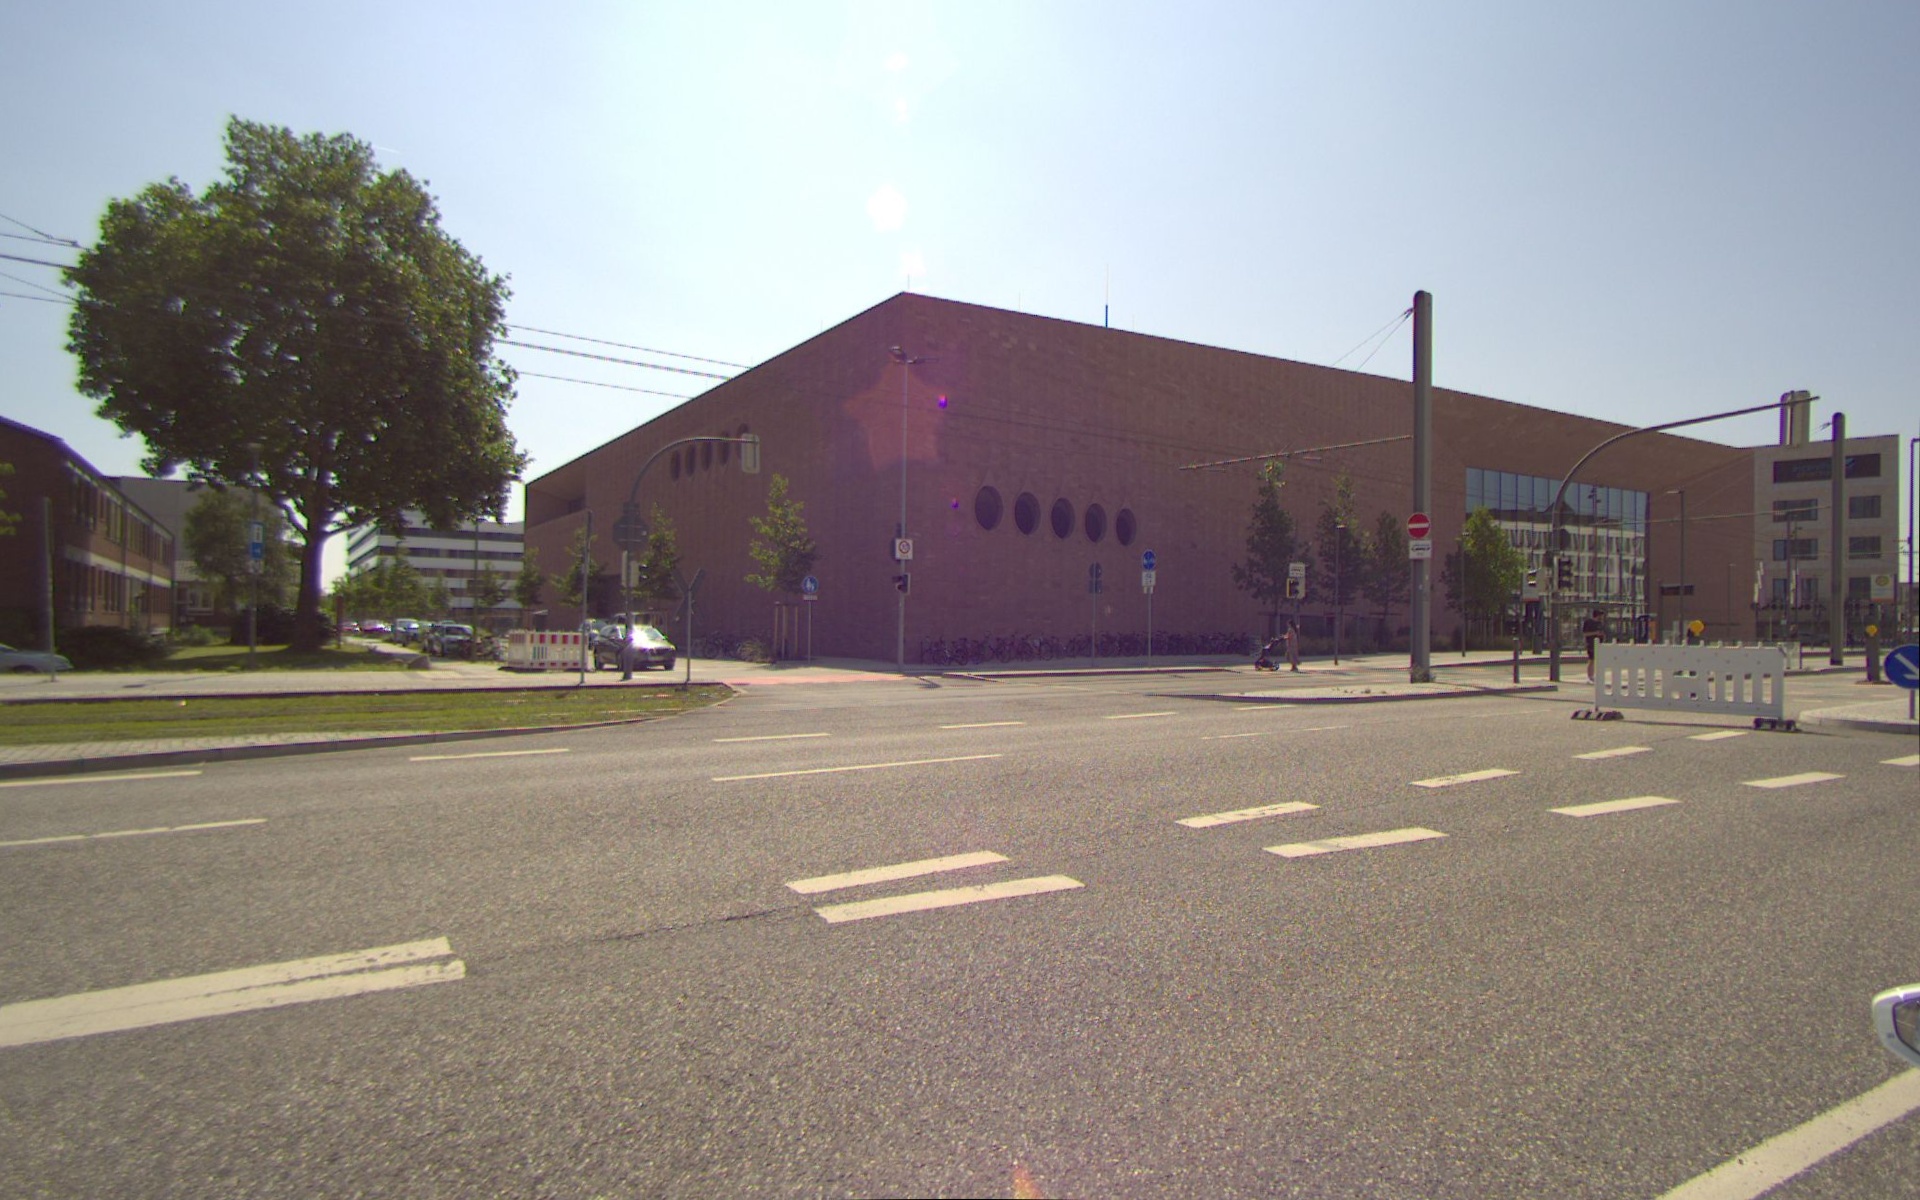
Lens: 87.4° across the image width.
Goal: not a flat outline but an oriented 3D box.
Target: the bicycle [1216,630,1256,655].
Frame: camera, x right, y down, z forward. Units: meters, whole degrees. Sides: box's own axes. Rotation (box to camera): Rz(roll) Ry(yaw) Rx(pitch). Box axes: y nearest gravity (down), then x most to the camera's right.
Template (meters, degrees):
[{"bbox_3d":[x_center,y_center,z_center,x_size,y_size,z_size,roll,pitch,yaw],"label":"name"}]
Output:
[{"bbox_3d":[14.315,2.209,52.137,0.536,1.228,2.030,1,0,-44],"label":"bicycle"}]

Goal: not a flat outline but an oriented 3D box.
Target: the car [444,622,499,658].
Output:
[{"bbox_3d":[-21.912,1.781,44.973,1.976,1.421,3.970,2,-1,-29],"label":"car"}]

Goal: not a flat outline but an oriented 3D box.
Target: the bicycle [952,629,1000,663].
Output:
[{"bbox_3d":[0.607,1.762,38.644,0.536,1.228,2.030,1,0,-44],"label":"bicycle"}]

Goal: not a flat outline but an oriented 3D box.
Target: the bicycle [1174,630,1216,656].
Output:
[{"bbox_3d":[11.689,2.143,49.995,0.536,1.228,2.030,1,0,-44],"label":"bicycle"}]

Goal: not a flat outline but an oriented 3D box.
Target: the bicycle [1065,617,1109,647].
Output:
[{"bbox_3d":[5.541,1.385,43.959,0.536,1.228,2.030,1,-1,-44],"label":"bicycle"}]

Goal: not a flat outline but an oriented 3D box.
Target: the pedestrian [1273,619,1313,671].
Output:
[{"bbox_3d":[10.463,1.391,31.578,0.788,1.583,0.920,1,0,-44],"label":"pedestrian"}]

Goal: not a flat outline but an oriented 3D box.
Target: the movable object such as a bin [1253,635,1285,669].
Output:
[{"bbox_3d":[9.894,1.652,32.170,0.788,1.045,0.706,1,0,-44],"label":"movable object such as a bin"}]

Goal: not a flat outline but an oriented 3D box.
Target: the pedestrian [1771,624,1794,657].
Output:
[{"bbox_3d":[47.403,2.341,57.866,0.817,1.844,0.806,1,0,-34],"label":"pedestrian"}]

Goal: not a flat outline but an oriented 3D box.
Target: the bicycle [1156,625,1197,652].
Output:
[{"bbox_3d":[10.523,1.866,48.888,0.741,1.228,1.867,1,-1,-41],"label":"bicycle"}]

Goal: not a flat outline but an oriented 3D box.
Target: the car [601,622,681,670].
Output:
[{"bbox_3d":[-10.541,1.475,33.033,1.557,1.388,3.455,1,0,-35],"label":"car"}]

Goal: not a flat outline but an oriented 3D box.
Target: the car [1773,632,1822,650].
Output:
[{"bbox_3d":[89.545,4.368,107.472,3.900,1.840,1.787,1,-1,44],"label":"car"}]

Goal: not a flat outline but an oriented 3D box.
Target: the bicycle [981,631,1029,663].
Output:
[{"bbox_3d":[1.786,1.861,40.144,2.029,1.228,0.536,0,0,44],"label":"bicycle"}]

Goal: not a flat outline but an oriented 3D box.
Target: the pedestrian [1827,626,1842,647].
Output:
[{"bbox_3d":[67.407,2.788,77.414,0.882,1.592,0.706,1,-1,-35],"label":"pedestrian"}]

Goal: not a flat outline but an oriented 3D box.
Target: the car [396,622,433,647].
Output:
[{"bbox_3d":[-34.652,2.181,63.776,1.976,1.421,3.970,2,-1,-29],"label":"car"}]

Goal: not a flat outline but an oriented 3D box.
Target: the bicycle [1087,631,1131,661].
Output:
[{"bbox_3d":[6.627,2.036,44.791,0.536,1.228,2.030,1,0,-44],"label":"bicycle"}]

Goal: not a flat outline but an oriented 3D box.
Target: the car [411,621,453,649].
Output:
[{"bbox_3d":[-29.605,1.934,56.253,1.976,1.421,3.970,2,-1,-29],"label":"car"}]

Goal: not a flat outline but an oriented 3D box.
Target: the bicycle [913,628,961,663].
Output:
[{"bbox_3d":[-0.869,1.689,37.430,0.536,1.228,2.030,1,0,-44],"label":"bicycle"}]

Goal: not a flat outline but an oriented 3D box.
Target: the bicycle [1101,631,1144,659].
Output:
[{"bbox_3d":[7.436,2.049,46.030,0.536,1.228,2.030,1,0,-44],"label":"bicycle"}]

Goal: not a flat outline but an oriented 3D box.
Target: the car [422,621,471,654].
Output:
[{"bbox_3d":[-24.809,1.768,48.475,1.976,1.421,3.970,2,-1,-29],"label":"car"}]

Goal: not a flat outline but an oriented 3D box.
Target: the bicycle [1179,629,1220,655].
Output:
[{"bbox_3d":[12.125,2.120,50.821,0.536,1.228,2.030,1,0,-44],"label":"bicycle"}]

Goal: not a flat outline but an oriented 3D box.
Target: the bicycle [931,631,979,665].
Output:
[{"bbox_3d":[-0.210,1.793,37.896,0.536,1.228,2.030,1,0,-44],"label":"bicycle"}]

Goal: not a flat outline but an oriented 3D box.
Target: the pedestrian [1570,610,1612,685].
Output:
[{"bbox_3d":[15.926,1.189,25.344,0.653,1.858,0.649,1,0,-30],"label":"pedestrian"}]

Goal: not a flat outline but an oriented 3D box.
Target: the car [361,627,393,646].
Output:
[{"bbox_3d":[-48.310,3.034,83.179,1.980,1.421,3.961,3,-1,-35],"label":"car"}]

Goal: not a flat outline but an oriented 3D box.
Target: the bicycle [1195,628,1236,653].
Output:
[{"bbox_3d":[13.091,2.054,51.520,0.536,1.228,2.030,1,0,-44],"label":"bicycle"}]

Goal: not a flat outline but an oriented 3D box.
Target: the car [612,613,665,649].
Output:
[{"bbox_3d":[-16.522,1.547,51.553,1.676,1.712,3.521,1,0,-34],"label":"car"}]

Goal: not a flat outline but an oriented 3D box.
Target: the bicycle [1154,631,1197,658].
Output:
[{"bbox_3d":[10.245,2.091,47.734,0.536,1.228,2.030,1,0,-44],"label":"bicycle"}]

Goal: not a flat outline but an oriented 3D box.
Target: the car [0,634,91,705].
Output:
[{"bbox_3d":[-25.577,1.789,26.131,4.258,1.784,1.687,3,-1,-35],"label":"car"}]

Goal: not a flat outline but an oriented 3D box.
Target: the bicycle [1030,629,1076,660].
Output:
[{"bbox_3d":[3.896,1.856,42.189,0.536,1.228,2.030,1,0,-44],"label":"bicycle"}]

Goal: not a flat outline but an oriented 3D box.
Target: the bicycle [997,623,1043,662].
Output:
[{"bbox_3d":[2.417,1.699,40.593,0.536,1.472,2.030,1,0,-44],"label":"bicycle"}]
